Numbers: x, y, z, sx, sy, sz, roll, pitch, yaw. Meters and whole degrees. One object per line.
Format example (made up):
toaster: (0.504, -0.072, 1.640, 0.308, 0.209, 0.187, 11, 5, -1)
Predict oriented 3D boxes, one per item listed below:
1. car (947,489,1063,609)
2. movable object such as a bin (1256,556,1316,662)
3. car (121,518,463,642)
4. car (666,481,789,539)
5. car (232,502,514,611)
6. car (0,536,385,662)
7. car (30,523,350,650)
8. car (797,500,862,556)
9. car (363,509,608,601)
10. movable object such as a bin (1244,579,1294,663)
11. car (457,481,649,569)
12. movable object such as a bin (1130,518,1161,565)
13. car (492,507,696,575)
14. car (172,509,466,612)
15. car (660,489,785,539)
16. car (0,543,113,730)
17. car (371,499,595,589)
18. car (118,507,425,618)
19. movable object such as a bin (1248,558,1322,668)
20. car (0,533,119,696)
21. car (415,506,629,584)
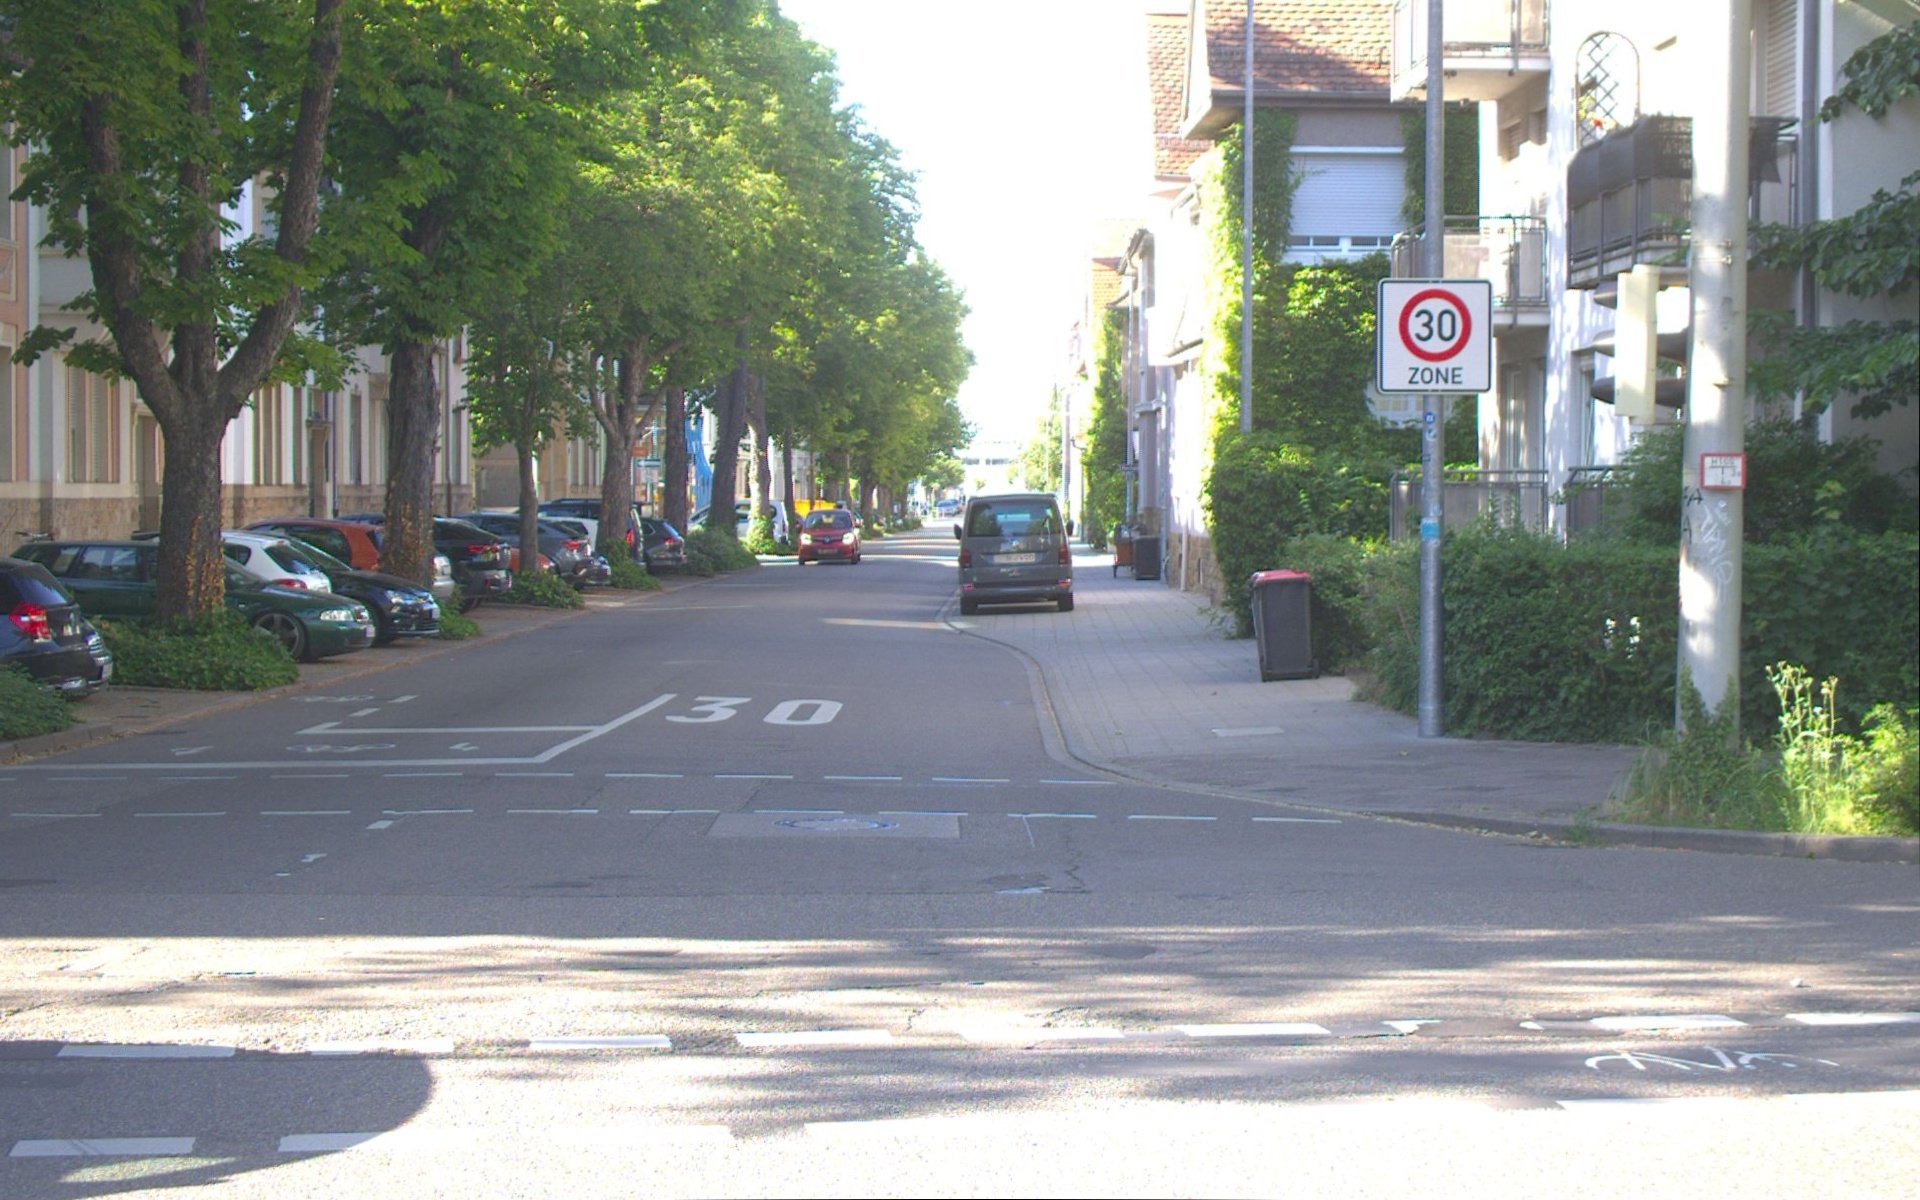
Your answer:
car: (0.766, -0.906, 57.915, 1.865, 1.909, 4.783, 0, 2, 1)
movable object such as a bin: (3.344, 0.090, 35.306, 0.483, 1.041, 0.657, -3, 2, -1)
car: (-8.527, -0.274, 44.068, 3.987, 1.477, 1.785, 1, 2, 2)
car: (-7.755, -3.011, 114.843, 3.986, 1.754, 1.798, 2, 1, -3)
car: (-9.083, -0.691, 53.386, 3.987, 1.561, 1.863, 1, 2, 2)
car: (-8.835, -0.028, 39.287, 4.212, 1.344, 1.703, 1, 1, 1)
car: (-9.282, -0.178, 41.588, 3.434, 1.447, 1.703, 1, 1, 3)
car: (-3.685, -2.063, 97.502, 1.641, 1.503, 3.703, -1, 2, 0)
car: (-8.208, -0.787, 59.667, 3.987, 1.509, 1.747, 1, 1, 1)
movable object such as a bin: (3.528, 0.237, 39.277, 0.503, 0.912, 0.573, -3, 2, 3)
car: (-8.880, -1.642, 75.157, 3.979, 1.849, 1.829, 1, 2, 0)
movable object such as a bin: (4.247, -1.342, 78.820, 0.647, 1.036, 0.828, -1, 2, -1)
car: (-8.492, -1.371, 79.963, 4.532, 1.498, 1.892, 1, 2, 0)
car: (-9.540, -0.611, 51.384, 3.987, 1.398, 1.830, 2, 2, 2)
car: (-7.757, -2.812, 112.465, 3.986, 1.459, 1.798, 2, 1, -3)
car: (-9.097, 0.296, 28.190, 3.882, 1.470, 1.615, -1, 1, 1)
car: (-9.057, -1.084, 65.481, 3.987, 1.587, 1.859, 1, 2, 0)
car: (-9.783, -0.548, 49.032, 3.987, 1.502, 1.722, -1, 2, 2)
movable object such as a bin: (3.259, 0.122, 34.488, 0.597, 1.041, 0.707, -3, 2, -1)
car: (-9.695, 0.112, 31.058, 3.881, 1.410, 1.616, 0, 2, -5)
car: (-8.706, -1.106, 68.512, 3.903, 1.441, 1.859, 2, 2, 6)
